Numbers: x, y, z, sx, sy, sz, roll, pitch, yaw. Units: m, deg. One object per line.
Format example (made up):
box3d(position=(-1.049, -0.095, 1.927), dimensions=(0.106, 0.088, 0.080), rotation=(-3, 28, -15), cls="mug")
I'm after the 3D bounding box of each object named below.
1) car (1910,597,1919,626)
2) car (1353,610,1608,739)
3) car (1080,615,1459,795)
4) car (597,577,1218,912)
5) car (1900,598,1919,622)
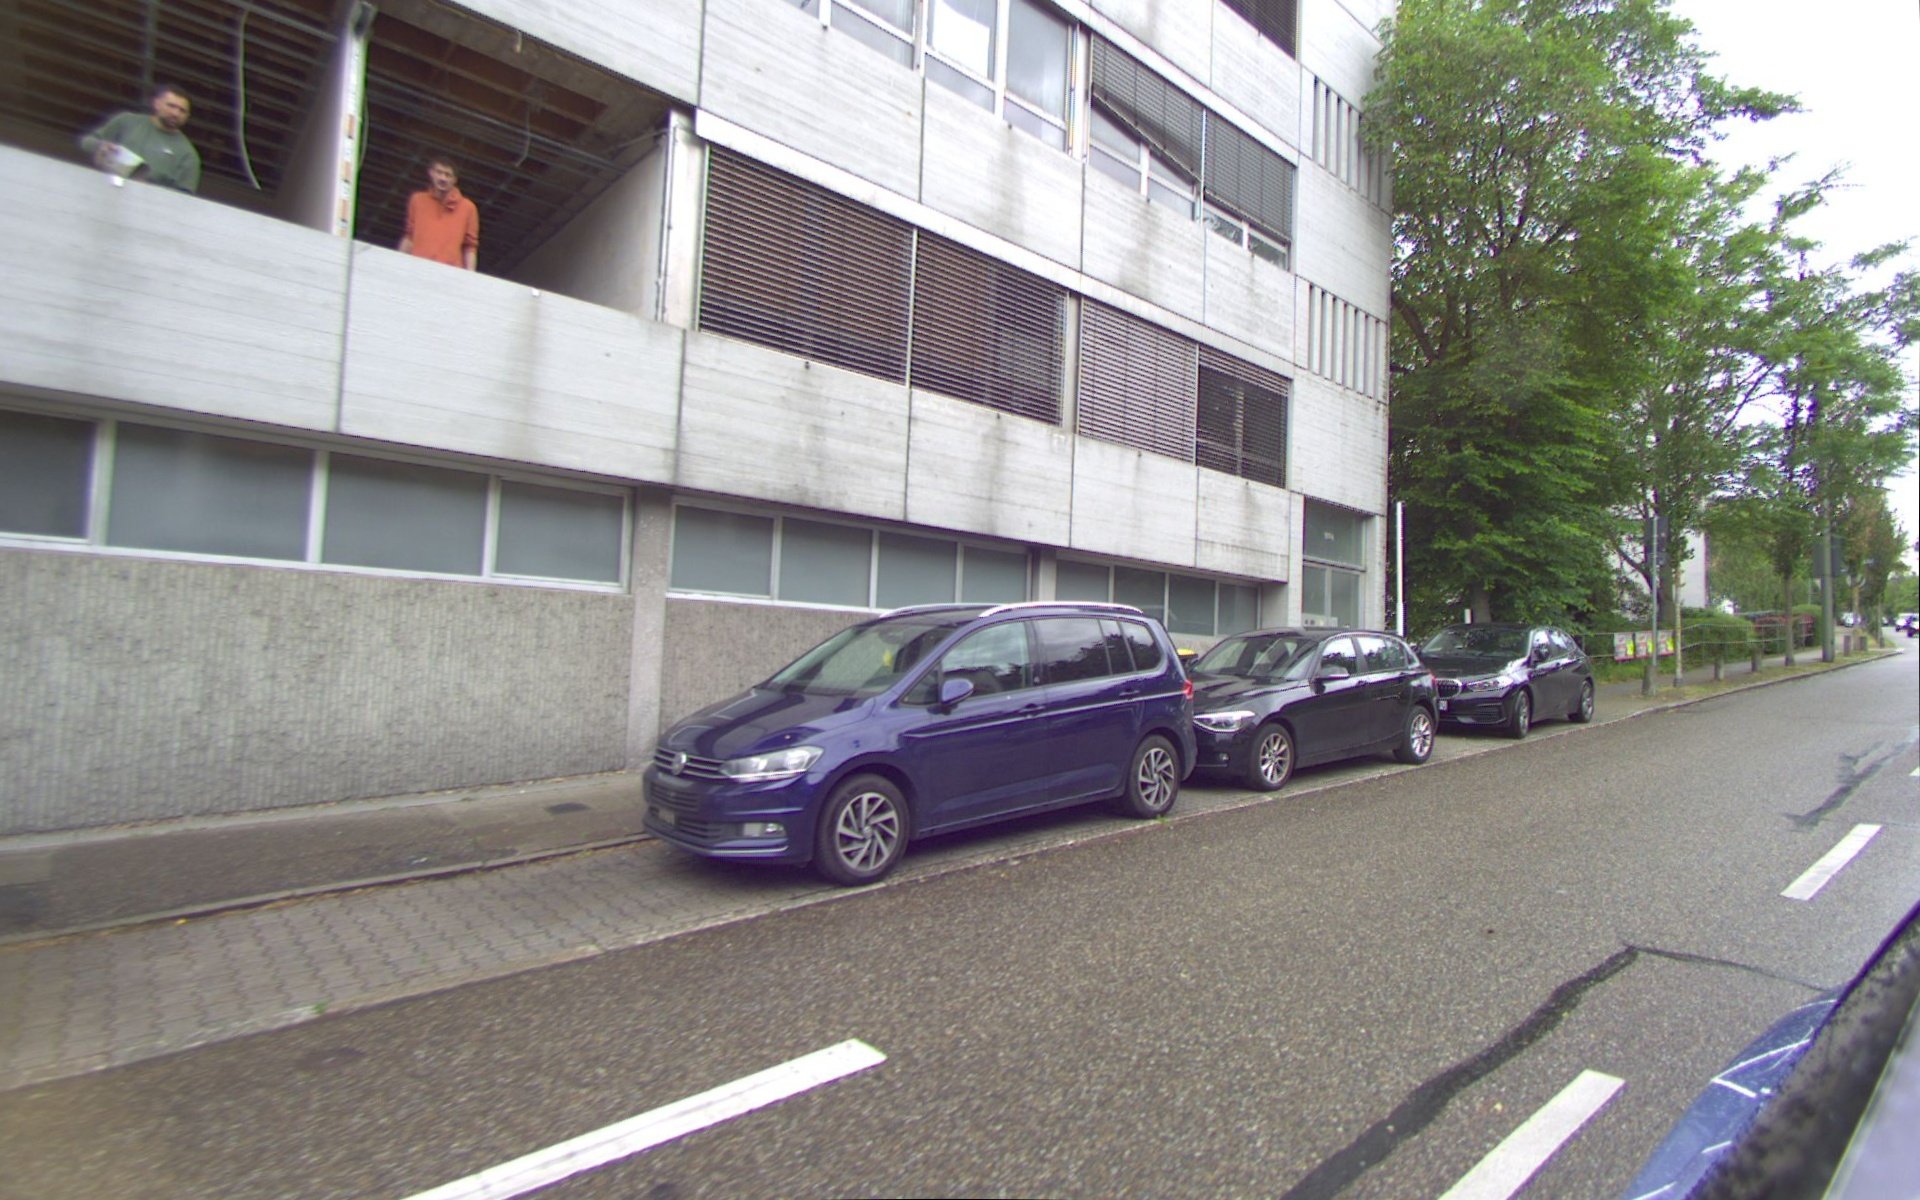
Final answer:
box3d(position=(69.440, 0.786, 72.468), dimensions=(1.993, 2.039, 3.938), rotation=(-2, -1, 43), cls="car")
box3d(position=(7.327, 0.909, 14.069), dimensions=(4.084, 1.462, 1.841), rotation=(0, 0, -42), cls="car")
box3d(position=(3.270, 0.908, 10.373), dimensions=(4.022, 1.463, 1.711), rotation=(0, -1, -38), cls="car")
box3d(position=(-0.149, 0.750, 7.220), dimensions=(4.269, 1.696, 1.747), rotation=(0, -2, -42), cls="car")
box3d(position=(85.603, 0.872, 90.440), dimensions=(3.933, 2.039, 1.995), rotation=(-1, -1, -43), cls="car")
